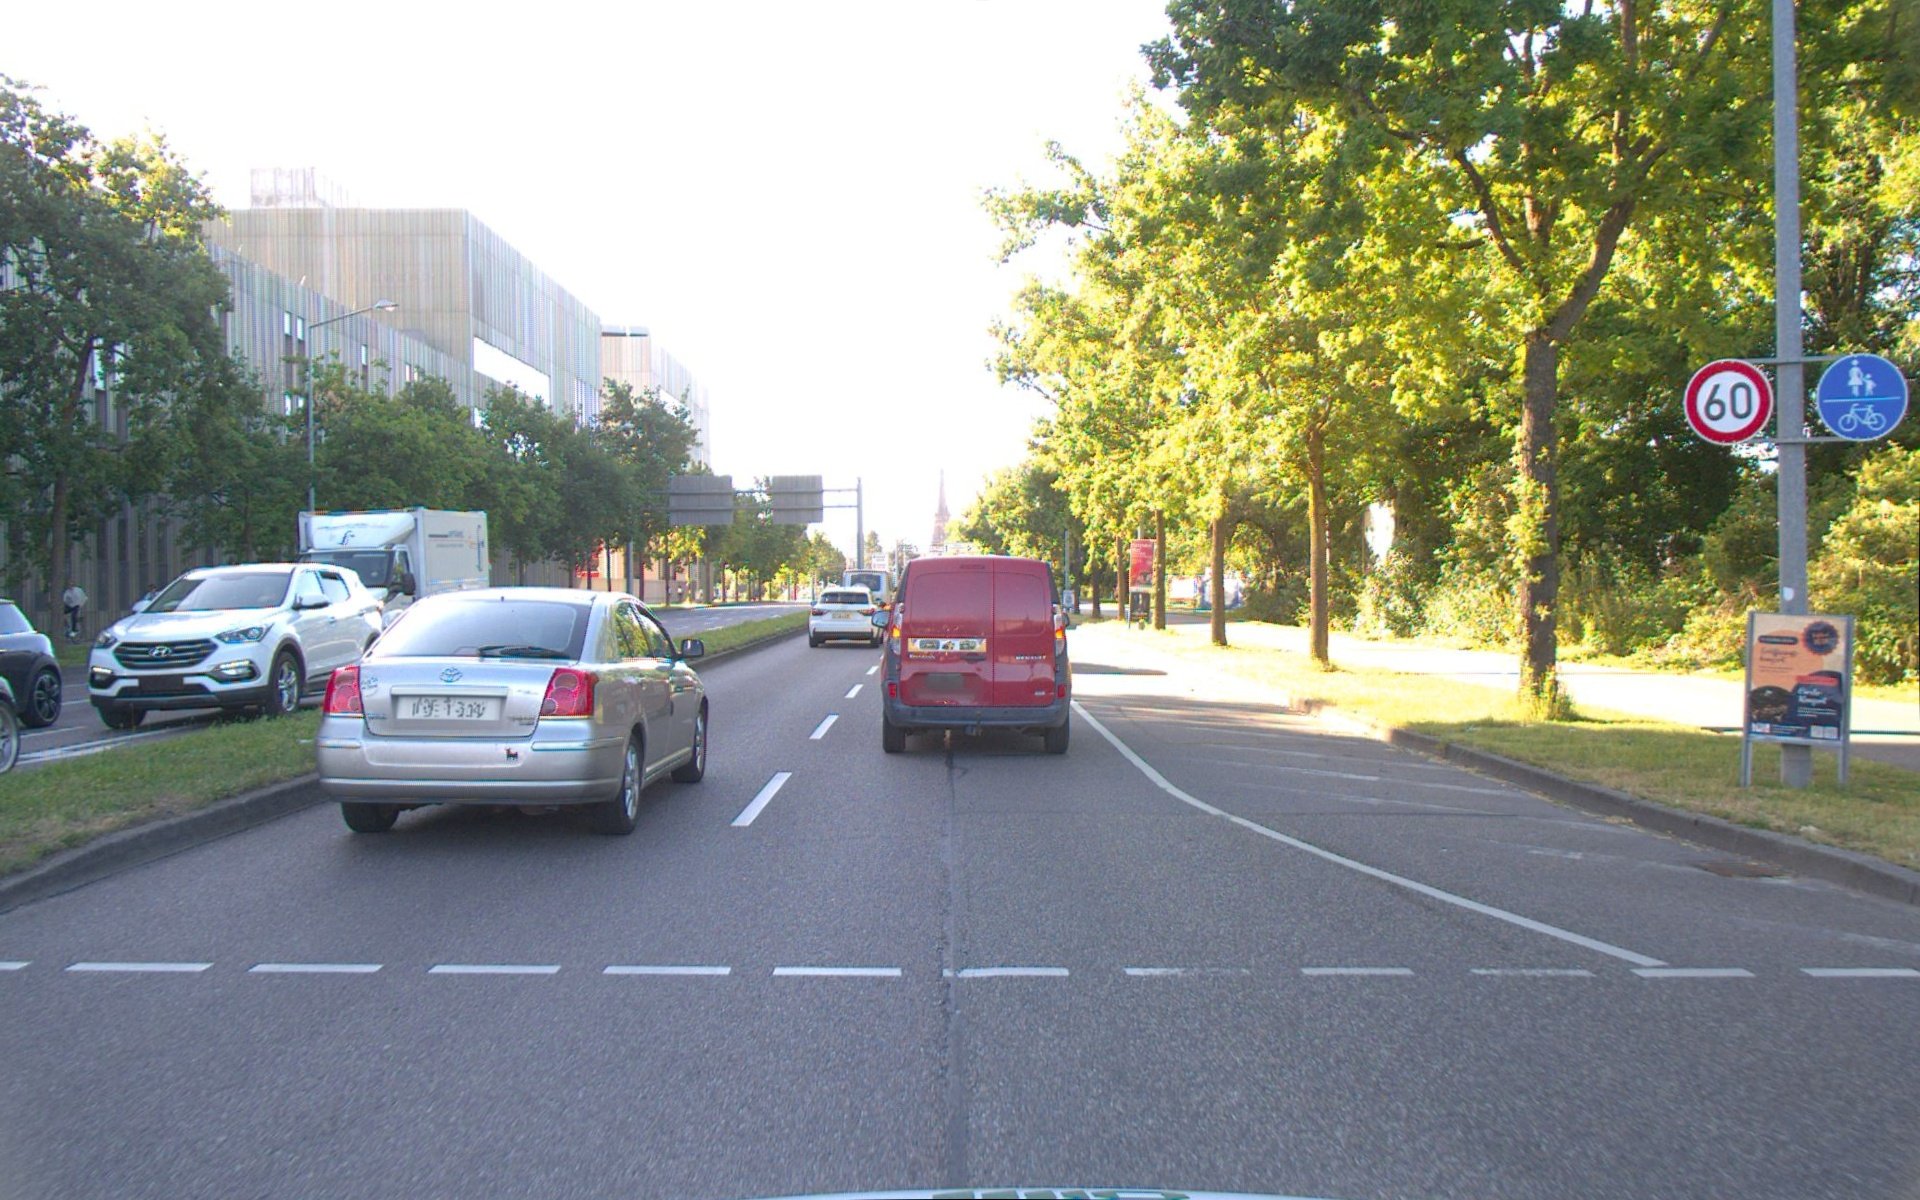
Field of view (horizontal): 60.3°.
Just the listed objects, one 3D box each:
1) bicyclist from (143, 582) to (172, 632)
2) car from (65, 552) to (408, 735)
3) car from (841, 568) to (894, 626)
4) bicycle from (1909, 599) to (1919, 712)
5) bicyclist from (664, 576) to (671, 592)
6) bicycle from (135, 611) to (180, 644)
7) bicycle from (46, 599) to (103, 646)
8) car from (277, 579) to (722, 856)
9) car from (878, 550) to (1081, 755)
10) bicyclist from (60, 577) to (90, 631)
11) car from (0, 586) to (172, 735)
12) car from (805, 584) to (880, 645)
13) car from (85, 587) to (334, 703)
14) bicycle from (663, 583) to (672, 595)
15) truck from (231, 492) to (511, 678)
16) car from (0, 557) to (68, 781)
[{"bbox_3d":[-24.122,0.204,49.717,0.497,1.467,0.753,-1,1,-1],"label":"bicyclist"},{"bbox_3d":[-7.892,0.407,18.610,1.787,1.711,4.658,-3,0,-1],"label":"car"},{"bbox_3d":[-3.107,-0.110,56.043,1.627,1.889,3.558,-1,0,-1],"label":"car"},{"bbox_3d":[9.570,0.541,15.185,0.506,1.091,1.935,-1,0,-4],"label":"bicycle"},{"bbox_3d":[-26.295,-1.395,148.478,0.472,1.419,0.844,-1,0,-2],"label":"bicyclist"},{"bbox_3d":[-24.115,0.816,49.721,0.501,0.906,1.754,-1,1,-1],"label":"bicycle"},{"bbox_3d":[-25.363,0.627,47.415,0.501,1.292,2.099,-1,1,-1],"label":"bicycle"},{"bbox_3d":[-2.773,0.614,10.977,1.803,1.482,4.162,0,0,0],"label":"car"},{"bbox_3d":[0.144,0.443,16.487,1.769,1.790,4.005,0,0,-1],"label":"car"},{"bbox_3d":[-25.377,0.109,47.433,0.497,1.533,0.644,-1,1,-1],"label":"bicyclist"},{"bbox_3d":[-10.616,0.641,18.729,1.587,1.495,3.640,-3,1,0],"label":"car"},{"bbox_3d":[-2.859,0.327,40.853,1.627,1.422,3.558,-1,0,-1],"label":"car"},{"bbox_3d":[-10.805,0.587,24.143,1.798,1.449,4.000,-2,1,-1],"label":"car"},{"bbox_3d":[-26.292,-0.986,148.545,0.477,1.021,2.095,-1,0,-2],"label":"bicycle"},{"bbox_3d":[-10.901,-0.279,31.440,2.631,3.012,7.114,-3,0,0],"label":"truck"},{"bbox_3d":[-7.695,0.532,11.137,1.569,1.608,3.213,-2,0,0],"label":"car"}]
